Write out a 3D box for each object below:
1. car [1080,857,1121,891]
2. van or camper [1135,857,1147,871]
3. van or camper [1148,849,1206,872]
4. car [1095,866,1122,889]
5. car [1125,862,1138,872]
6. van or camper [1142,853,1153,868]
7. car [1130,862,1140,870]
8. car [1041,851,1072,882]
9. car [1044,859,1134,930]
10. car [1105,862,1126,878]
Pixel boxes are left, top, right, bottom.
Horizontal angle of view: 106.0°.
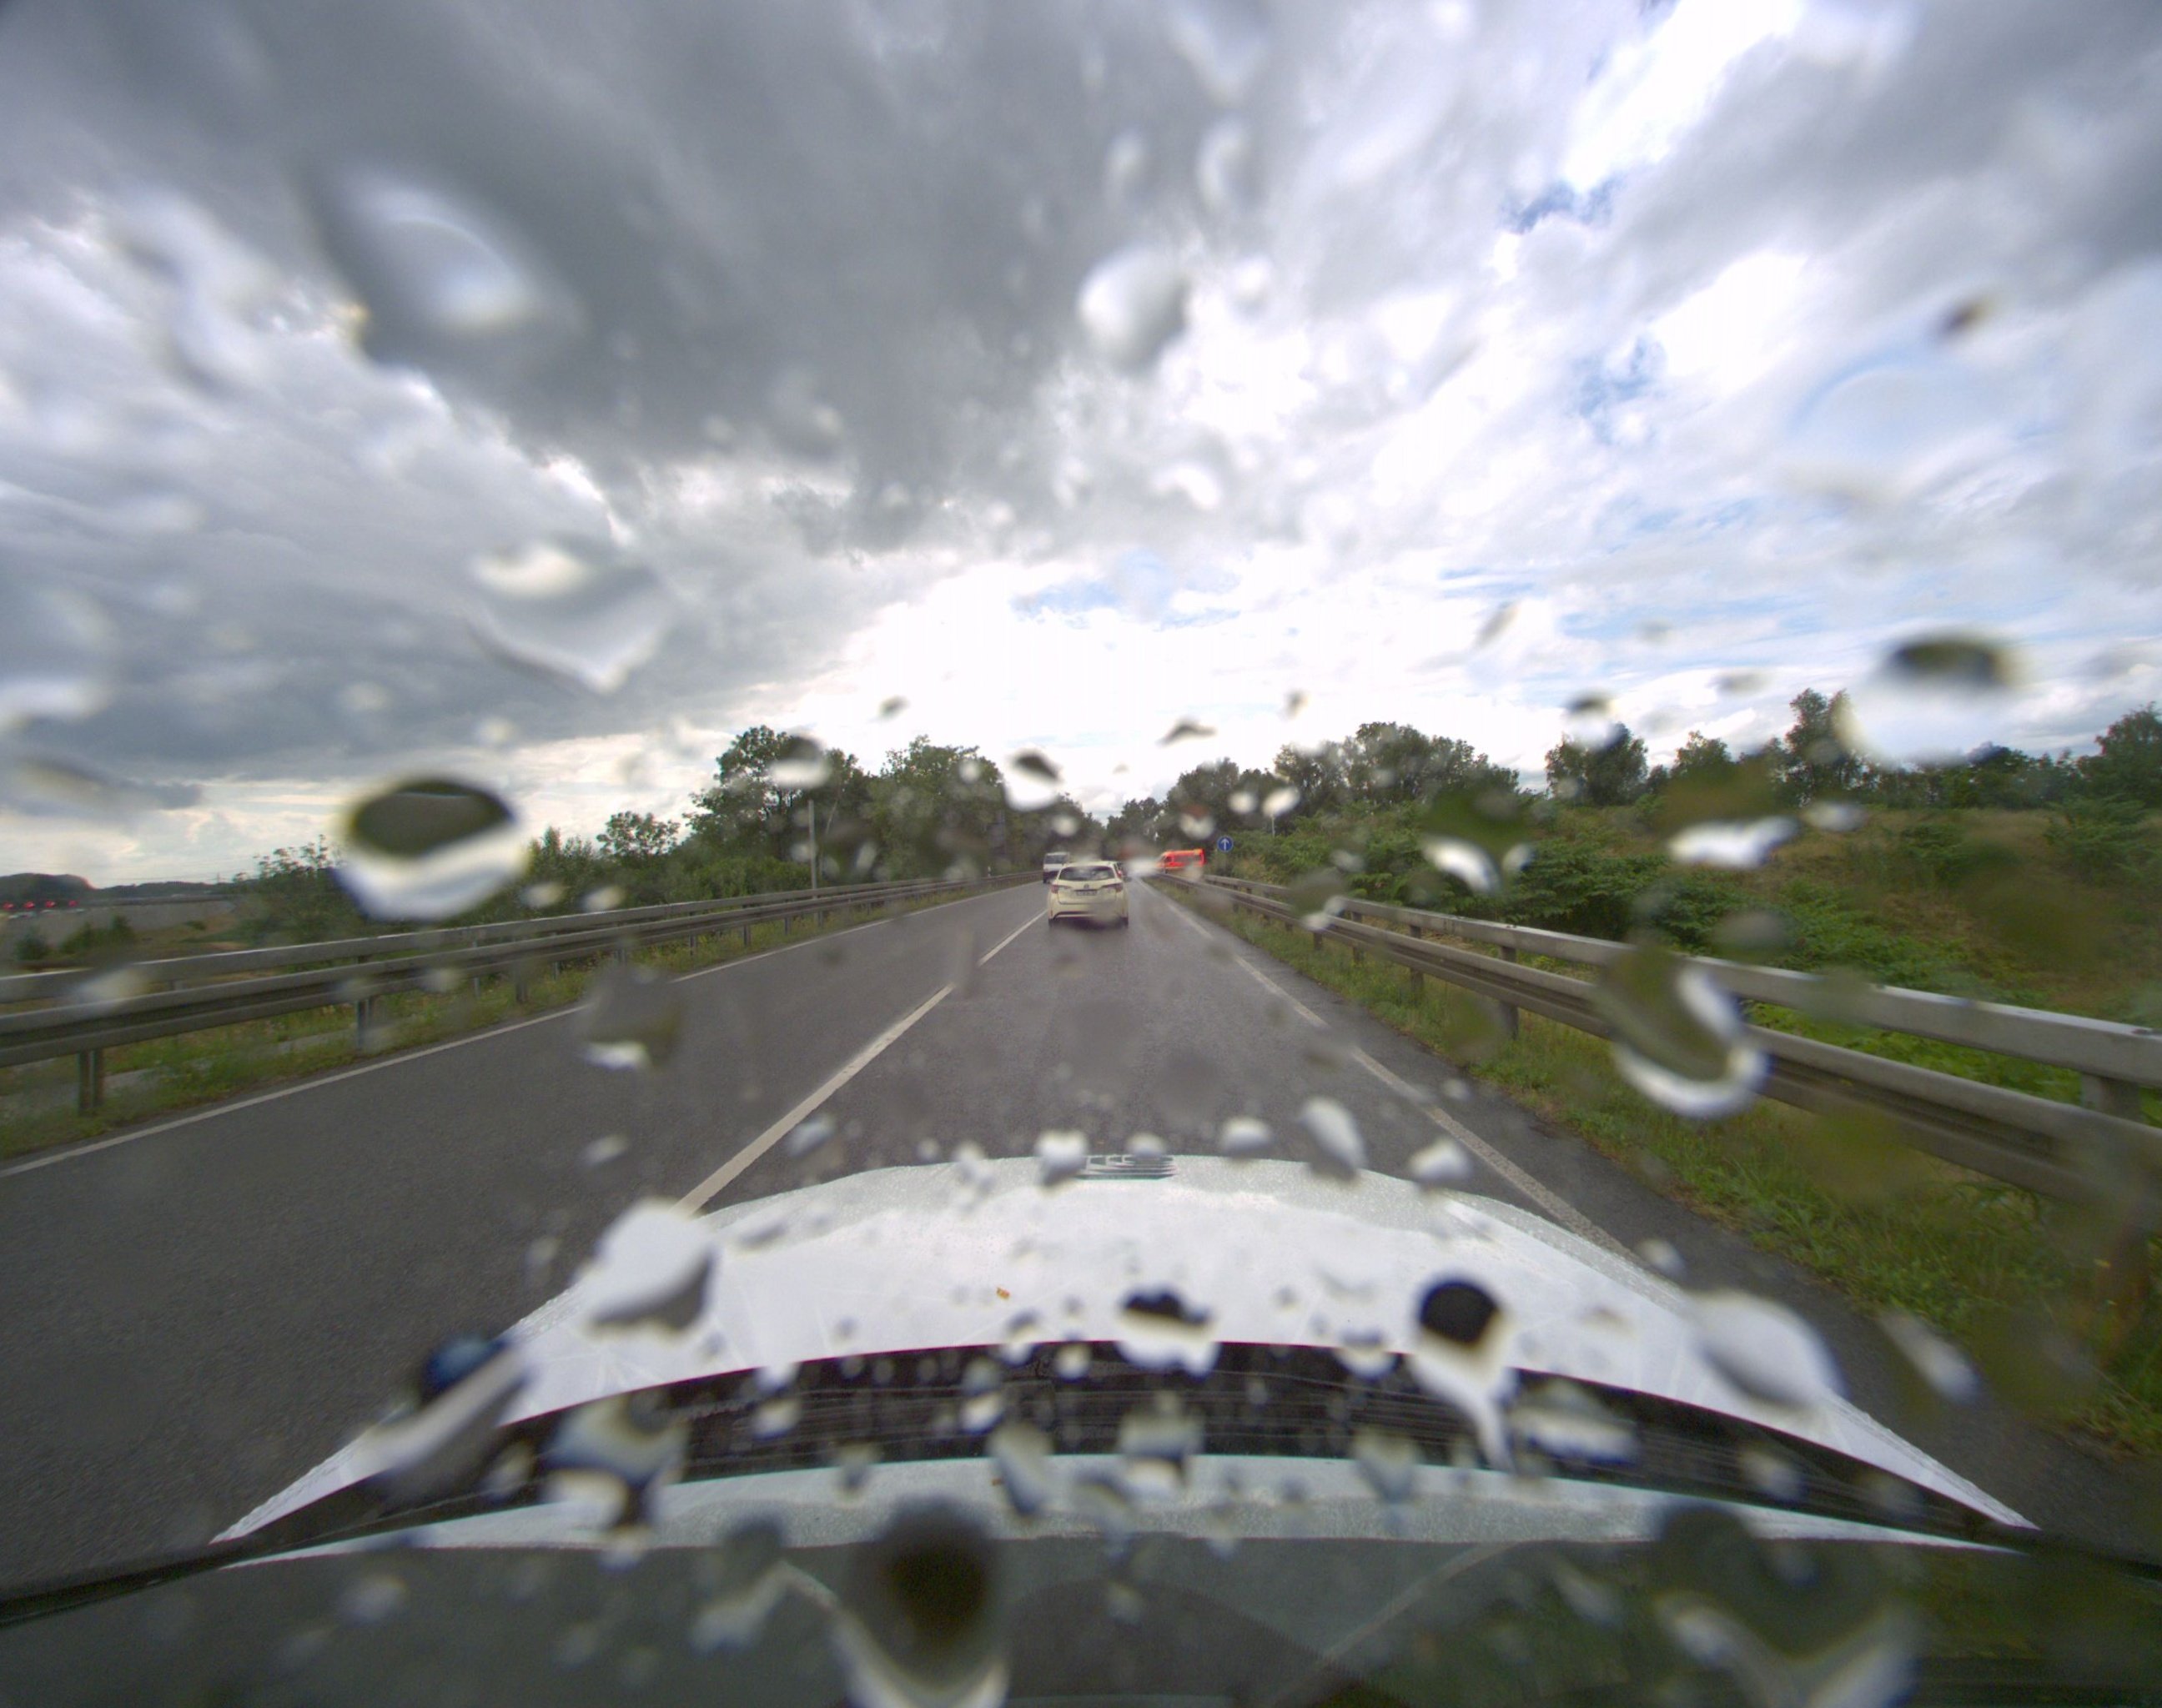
[{"bbox_3d":[0.918,0.915,39.078,1.848,1.443,4.172,-1,1,1],"label":"car"},{"bbox_3d":[12.926,2.198,174.994,2.323,2.864,6.310,-1,0,2],"label":"van or camper"},{"bbox_3d":[9.963,0.642,84.898,5.685,2.241,2.011,-1,0,-14],"label":"van or camper"},{"bbox_3d":[1.934,1.654,57.952,1.848,1.443,4.172,-1,1,1],"label":"car"},{"bbox_3d":[7.874,2.038,127.276,1.846,1.443,4.176,-1,0,5],"label":"car"},{"bbox_3d":[16.377,1.583,200.095,2.323,3.562,6.310,-1,0,2],"label":"van or camper"},{"bbox_3d":[10.346,2.219,155.175,1.846,1.443,4.176,-1,0,5],"label":"car"},{"bbox_3d":[-1.771,0.872,60.352,1.986,2.128,4.897,-1,0,2],"label":"car"},{"bbox_3d":[0.200,0.862,19.068,1.848,1.394,4.172,-1,1,1],"label":"car"},{"bbox_3d":[3.271,1.508,77.855,1.848,1.443,4.172,-1,1,1],"label":"car"}]
